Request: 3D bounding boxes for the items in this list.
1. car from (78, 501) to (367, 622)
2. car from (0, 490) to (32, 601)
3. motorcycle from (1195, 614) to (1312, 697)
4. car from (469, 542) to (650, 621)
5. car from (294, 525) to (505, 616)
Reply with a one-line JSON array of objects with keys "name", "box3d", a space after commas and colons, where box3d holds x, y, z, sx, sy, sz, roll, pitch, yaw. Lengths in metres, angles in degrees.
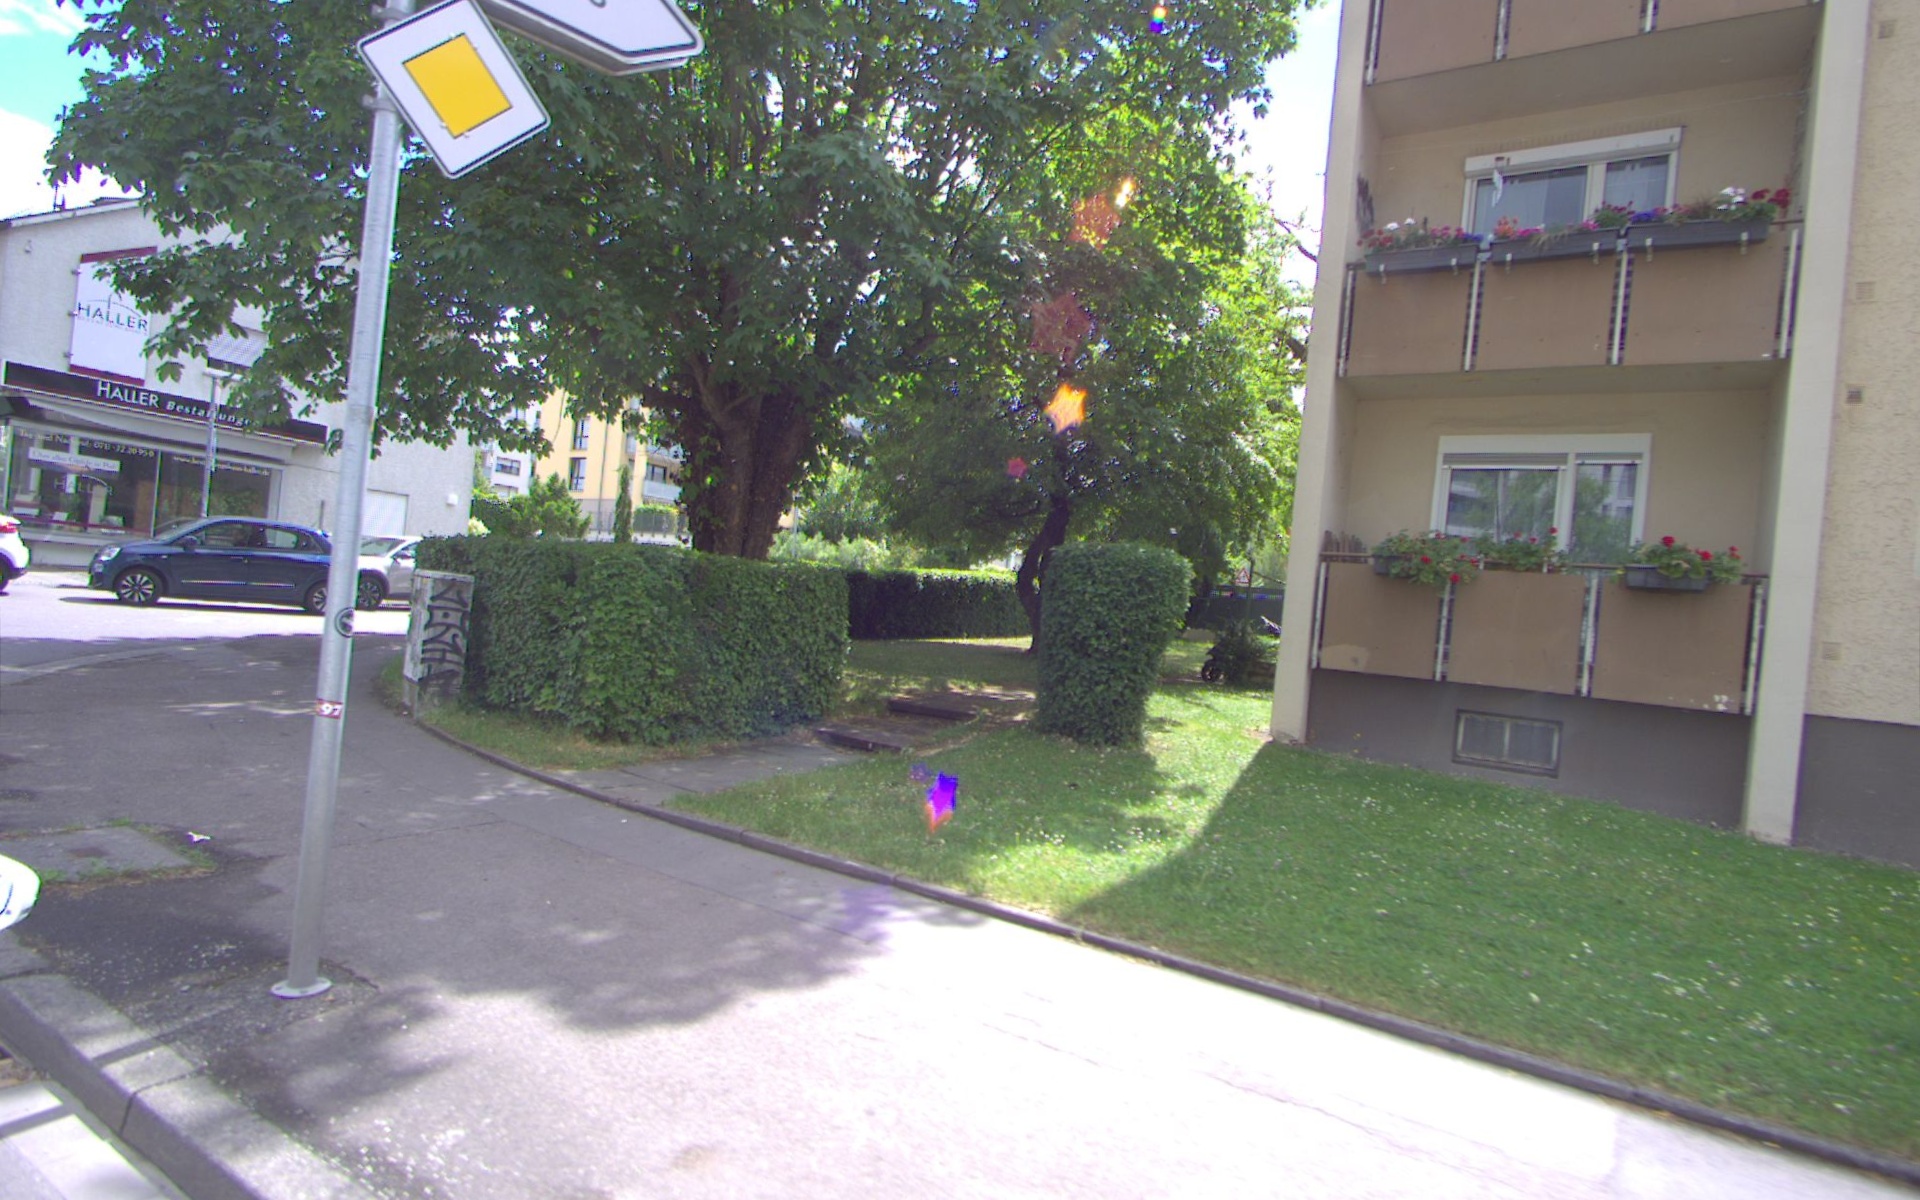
[{"name": "car", "box3d": [-12.362, -0.620, 16.963, 3.682, 1.542, 1.976, 6, 2, -42]}, {"name": "car", "box3d": [-15.696, -0.972, 14.231, 1.973, 1.604, 3.589, 6, 0, 43]}, {"name": "motorcycle", "box3d": [4.900, 0.906, 16.802, 1.642, 1.148, 0.711, 7, 2, 31]}, {"name": "car", "box3d": [-9.737, -0.395, 24.763, 1.680, 1.567, 3.886, 7, 1, 27]}, {"name": "car", "box3d": [-11.653, -0.556, 21.129, 1.679, 1.543, 3.464, 7, 1, 24]}]
